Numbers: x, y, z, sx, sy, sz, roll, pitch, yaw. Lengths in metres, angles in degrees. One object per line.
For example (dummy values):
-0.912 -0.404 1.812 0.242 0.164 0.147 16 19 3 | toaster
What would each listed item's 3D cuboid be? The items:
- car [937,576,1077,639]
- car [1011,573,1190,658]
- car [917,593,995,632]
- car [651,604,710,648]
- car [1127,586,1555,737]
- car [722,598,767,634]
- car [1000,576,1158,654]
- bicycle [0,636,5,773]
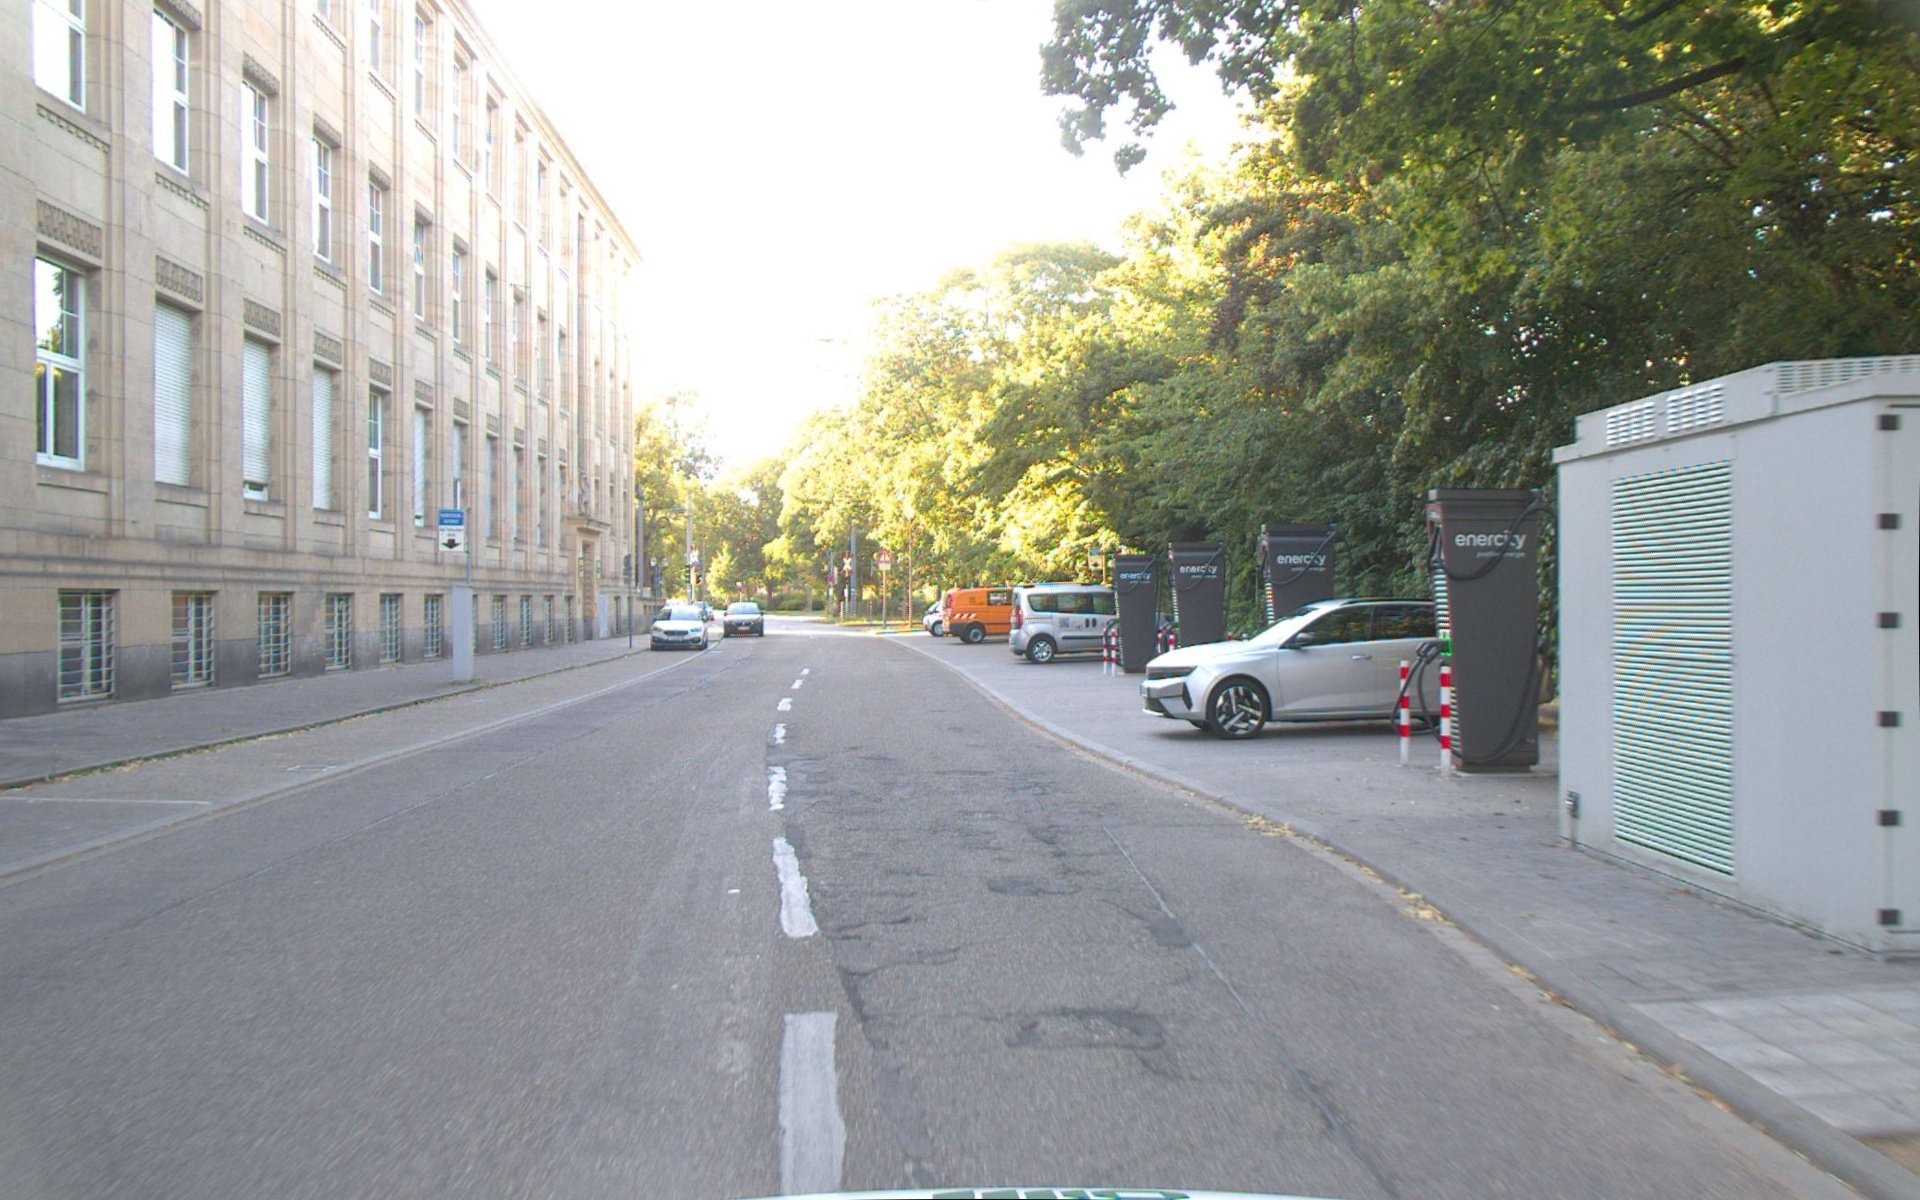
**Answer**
1.686 0.267 59.945 4.731 2.049 1.798 -2 0 -10 | car
3.424 0.380 40.807 4.144 1.892 1.999 -2 0 -3 | car
-0.177 0.514 70.420 3.087 1.529 1.537 -2 0 -10 | car
-9.424 0.841 55.923 1.694 1.421 4.367 0 0 -6 | car
4.200 0.651 18.641 4.354 1.495 1.781 -2 0 -4 | car
-9.495 0.672 73.173 1.842 1.492 4.367 0 0 -6 | car
3.088 0.374 43.369 3.943 1.868 1.613 -2 0 -3 | car
-8.282 0.851 12.581 0.835 1.121 1.982 1 0 1 | bicycle
